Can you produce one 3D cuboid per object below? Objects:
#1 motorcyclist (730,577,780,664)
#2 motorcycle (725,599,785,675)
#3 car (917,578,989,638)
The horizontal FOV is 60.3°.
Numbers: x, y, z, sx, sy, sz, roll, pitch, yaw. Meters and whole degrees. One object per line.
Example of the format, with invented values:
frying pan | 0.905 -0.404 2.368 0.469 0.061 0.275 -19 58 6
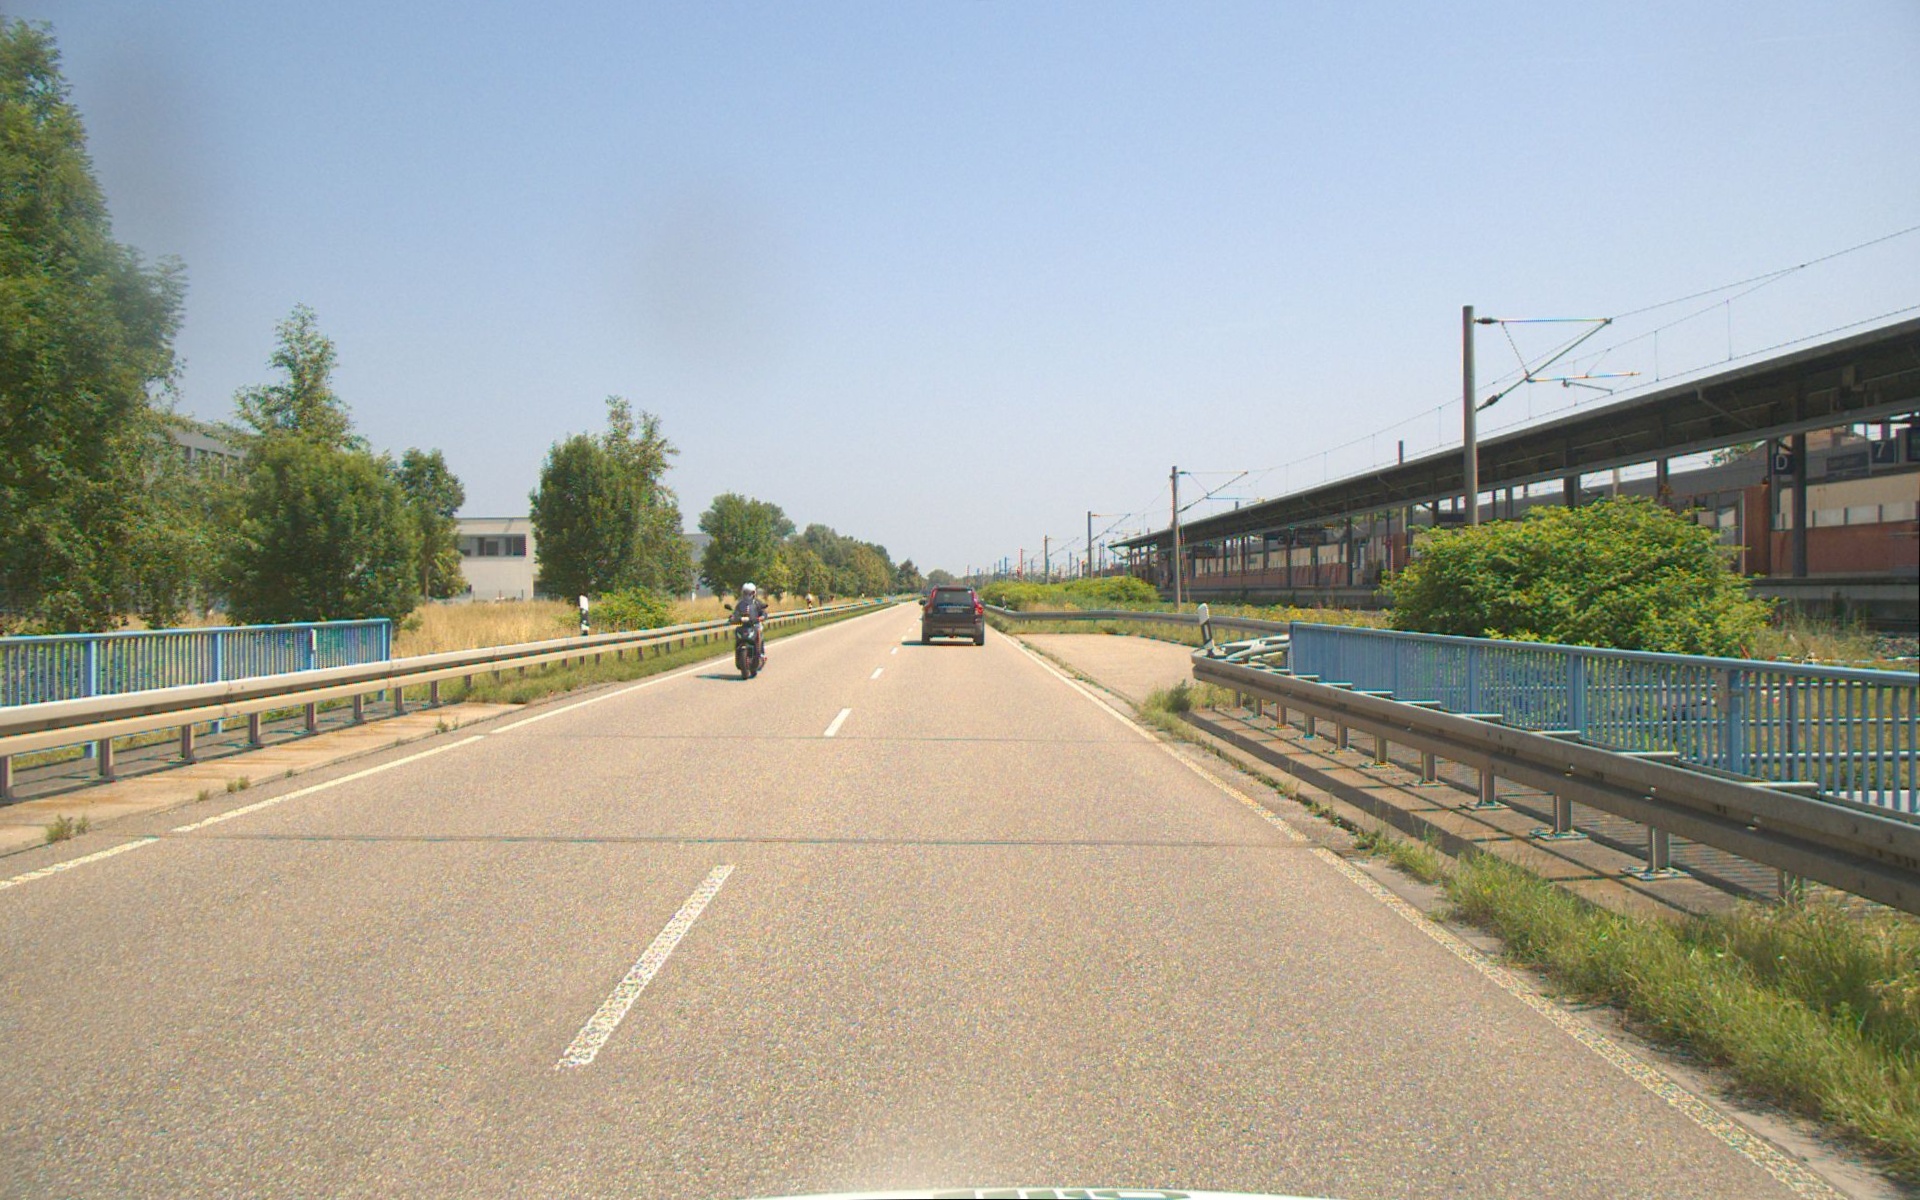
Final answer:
motorcyclist | -3.599 0.351 29.107 0.711 1.490 0.987 0 0 2
motorcycle | -3.596 0.621 29.144 0.674 1.256 2.370 1 0 2
car | -0.251 0.217 49.593 1.954 1.730 3.998 0 0 -3
